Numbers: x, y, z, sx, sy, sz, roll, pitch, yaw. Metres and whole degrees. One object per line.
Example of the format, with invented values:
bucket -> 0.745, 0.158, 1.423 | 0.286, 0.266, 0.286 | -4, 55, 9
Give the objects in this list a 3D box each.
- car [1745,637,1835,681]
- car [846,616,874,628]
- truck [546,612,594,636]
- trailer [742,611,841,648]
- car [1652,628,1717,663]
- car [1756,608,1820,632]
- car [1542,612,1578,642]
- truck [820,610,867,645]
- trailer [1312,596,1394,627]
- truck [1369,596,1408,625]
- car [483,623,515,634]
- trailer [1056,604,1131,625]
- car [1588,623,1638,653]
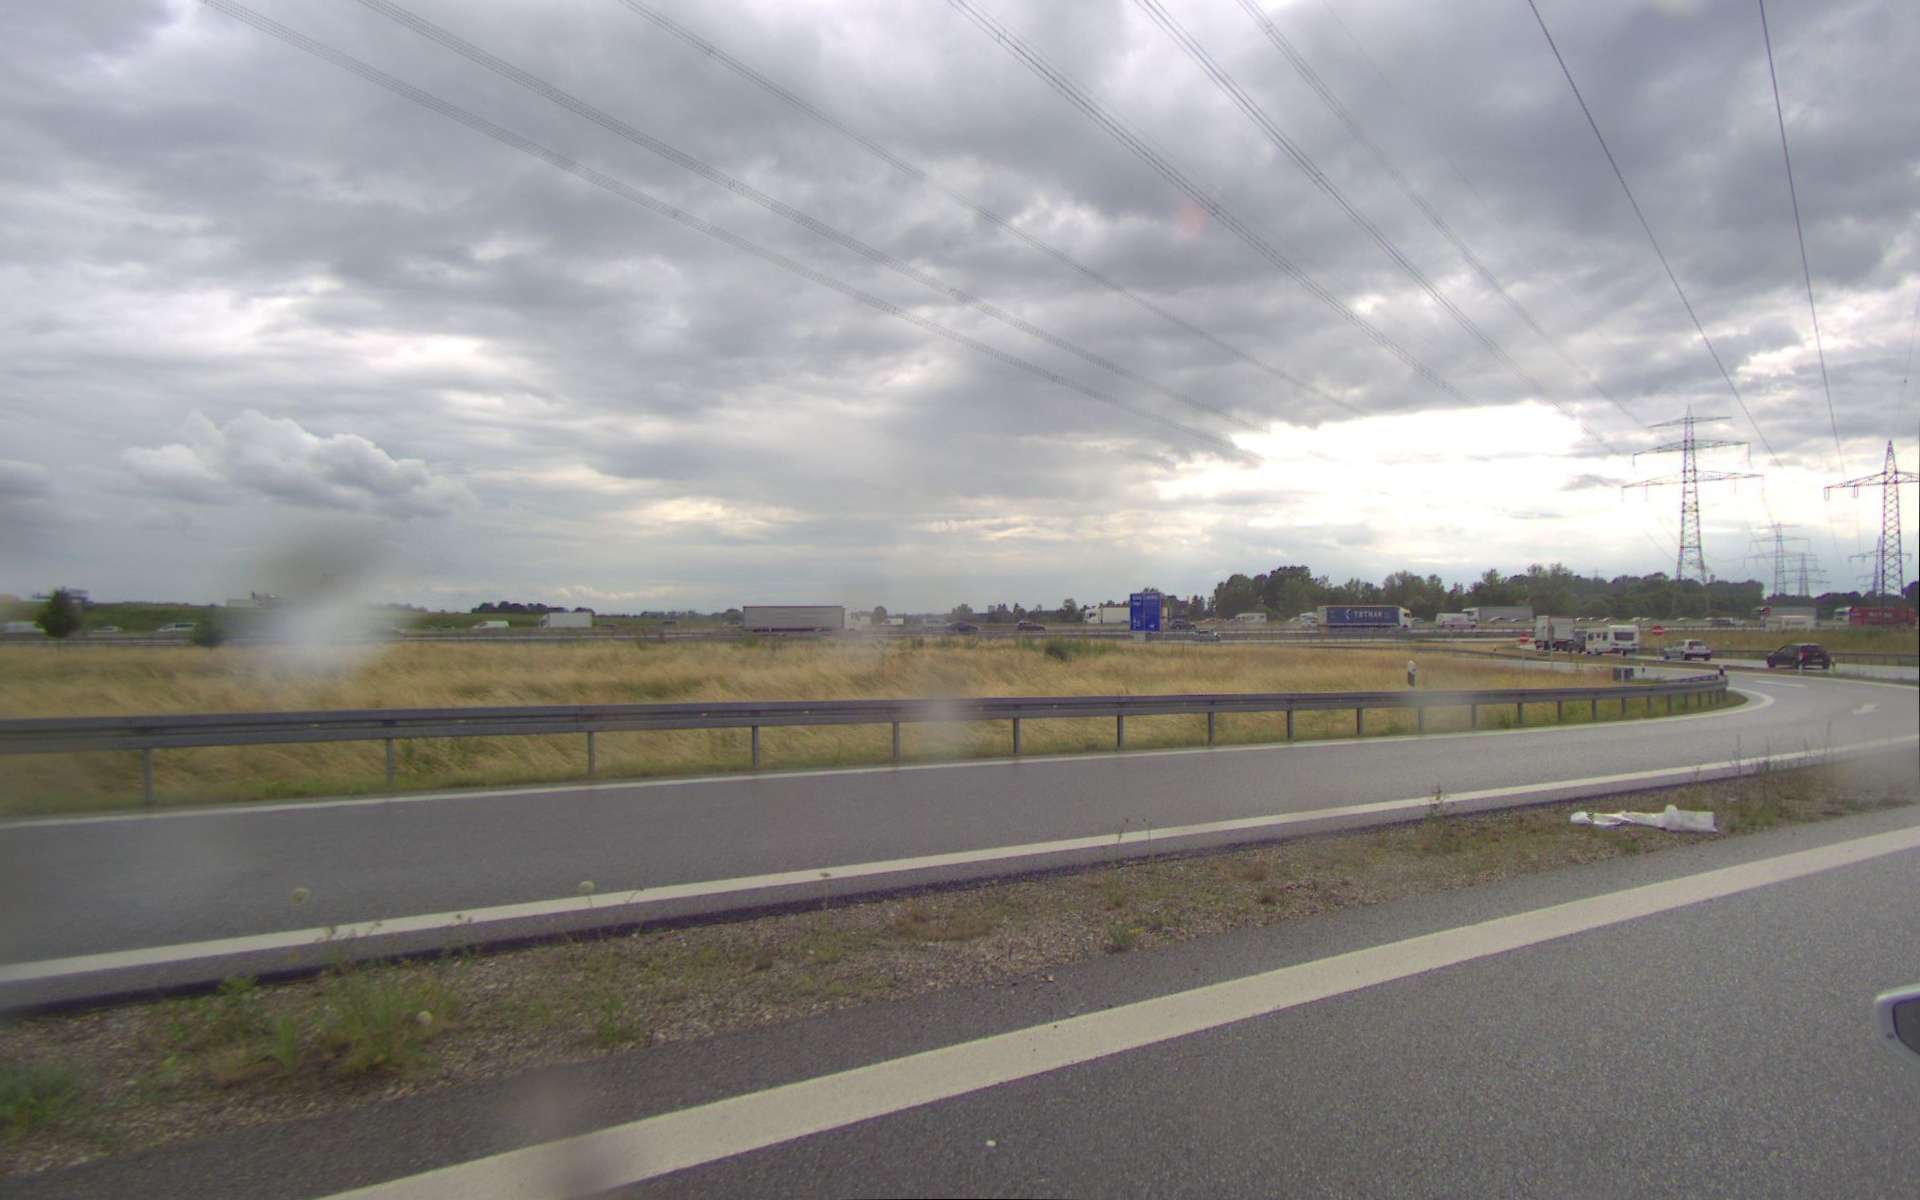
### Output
car -> 50.221, 3.526, 60.938 | 2.312, 2.338, 5.130 | -2, 0, 16
car -> -17.483, 3.831, 175.637 | 4.671, 2.040, 1.996 | -2, 0, -12
truck -> -63.279, 3.858, 163.126 | 6.988, 3.517, 1.994 | -2, 0, -14
trailer -> -23.469, 4.025, 139.855 | 13.170, 4.678, 3.473 | -2, 0, -16
car -> 54.817, 3.419, 76.144 | 2.312, 2.338, 5.130 | -2, 0, 16
car -> 131.945, 3.190, 160.045 | 8.895, 3.658, 3.383 | 0, -1, -16
car -> 64.156, 2.856, 107.523 | 3.090, 2.991, 7.195 | -2, 0, 29
truck -> -16.459, 3.811, 141.819 | 6.164, 4.627, 3.340 | -2, 0, -16
trailer -> 63.613, 1.830, 162.675 | 13.081, 4.697, 3.048 | -2, 0, -16
truck -> 70.165, 1.739, 164.640 | 4.989, 4.539, 3.068 | -2, 0, -16
car -> -68.650, 4.259, 149.660 | 3.930, 1.412, 1.996 | -2, 0, -12
trailer -> 24.860, 2.682, 186.947 | 13.865, 3.720, 2.851 | 0, 0, -15
car -> 56.656, 3.301, 87.280 | 2.312, 2.338, 5.129 | -2, 0, 18
